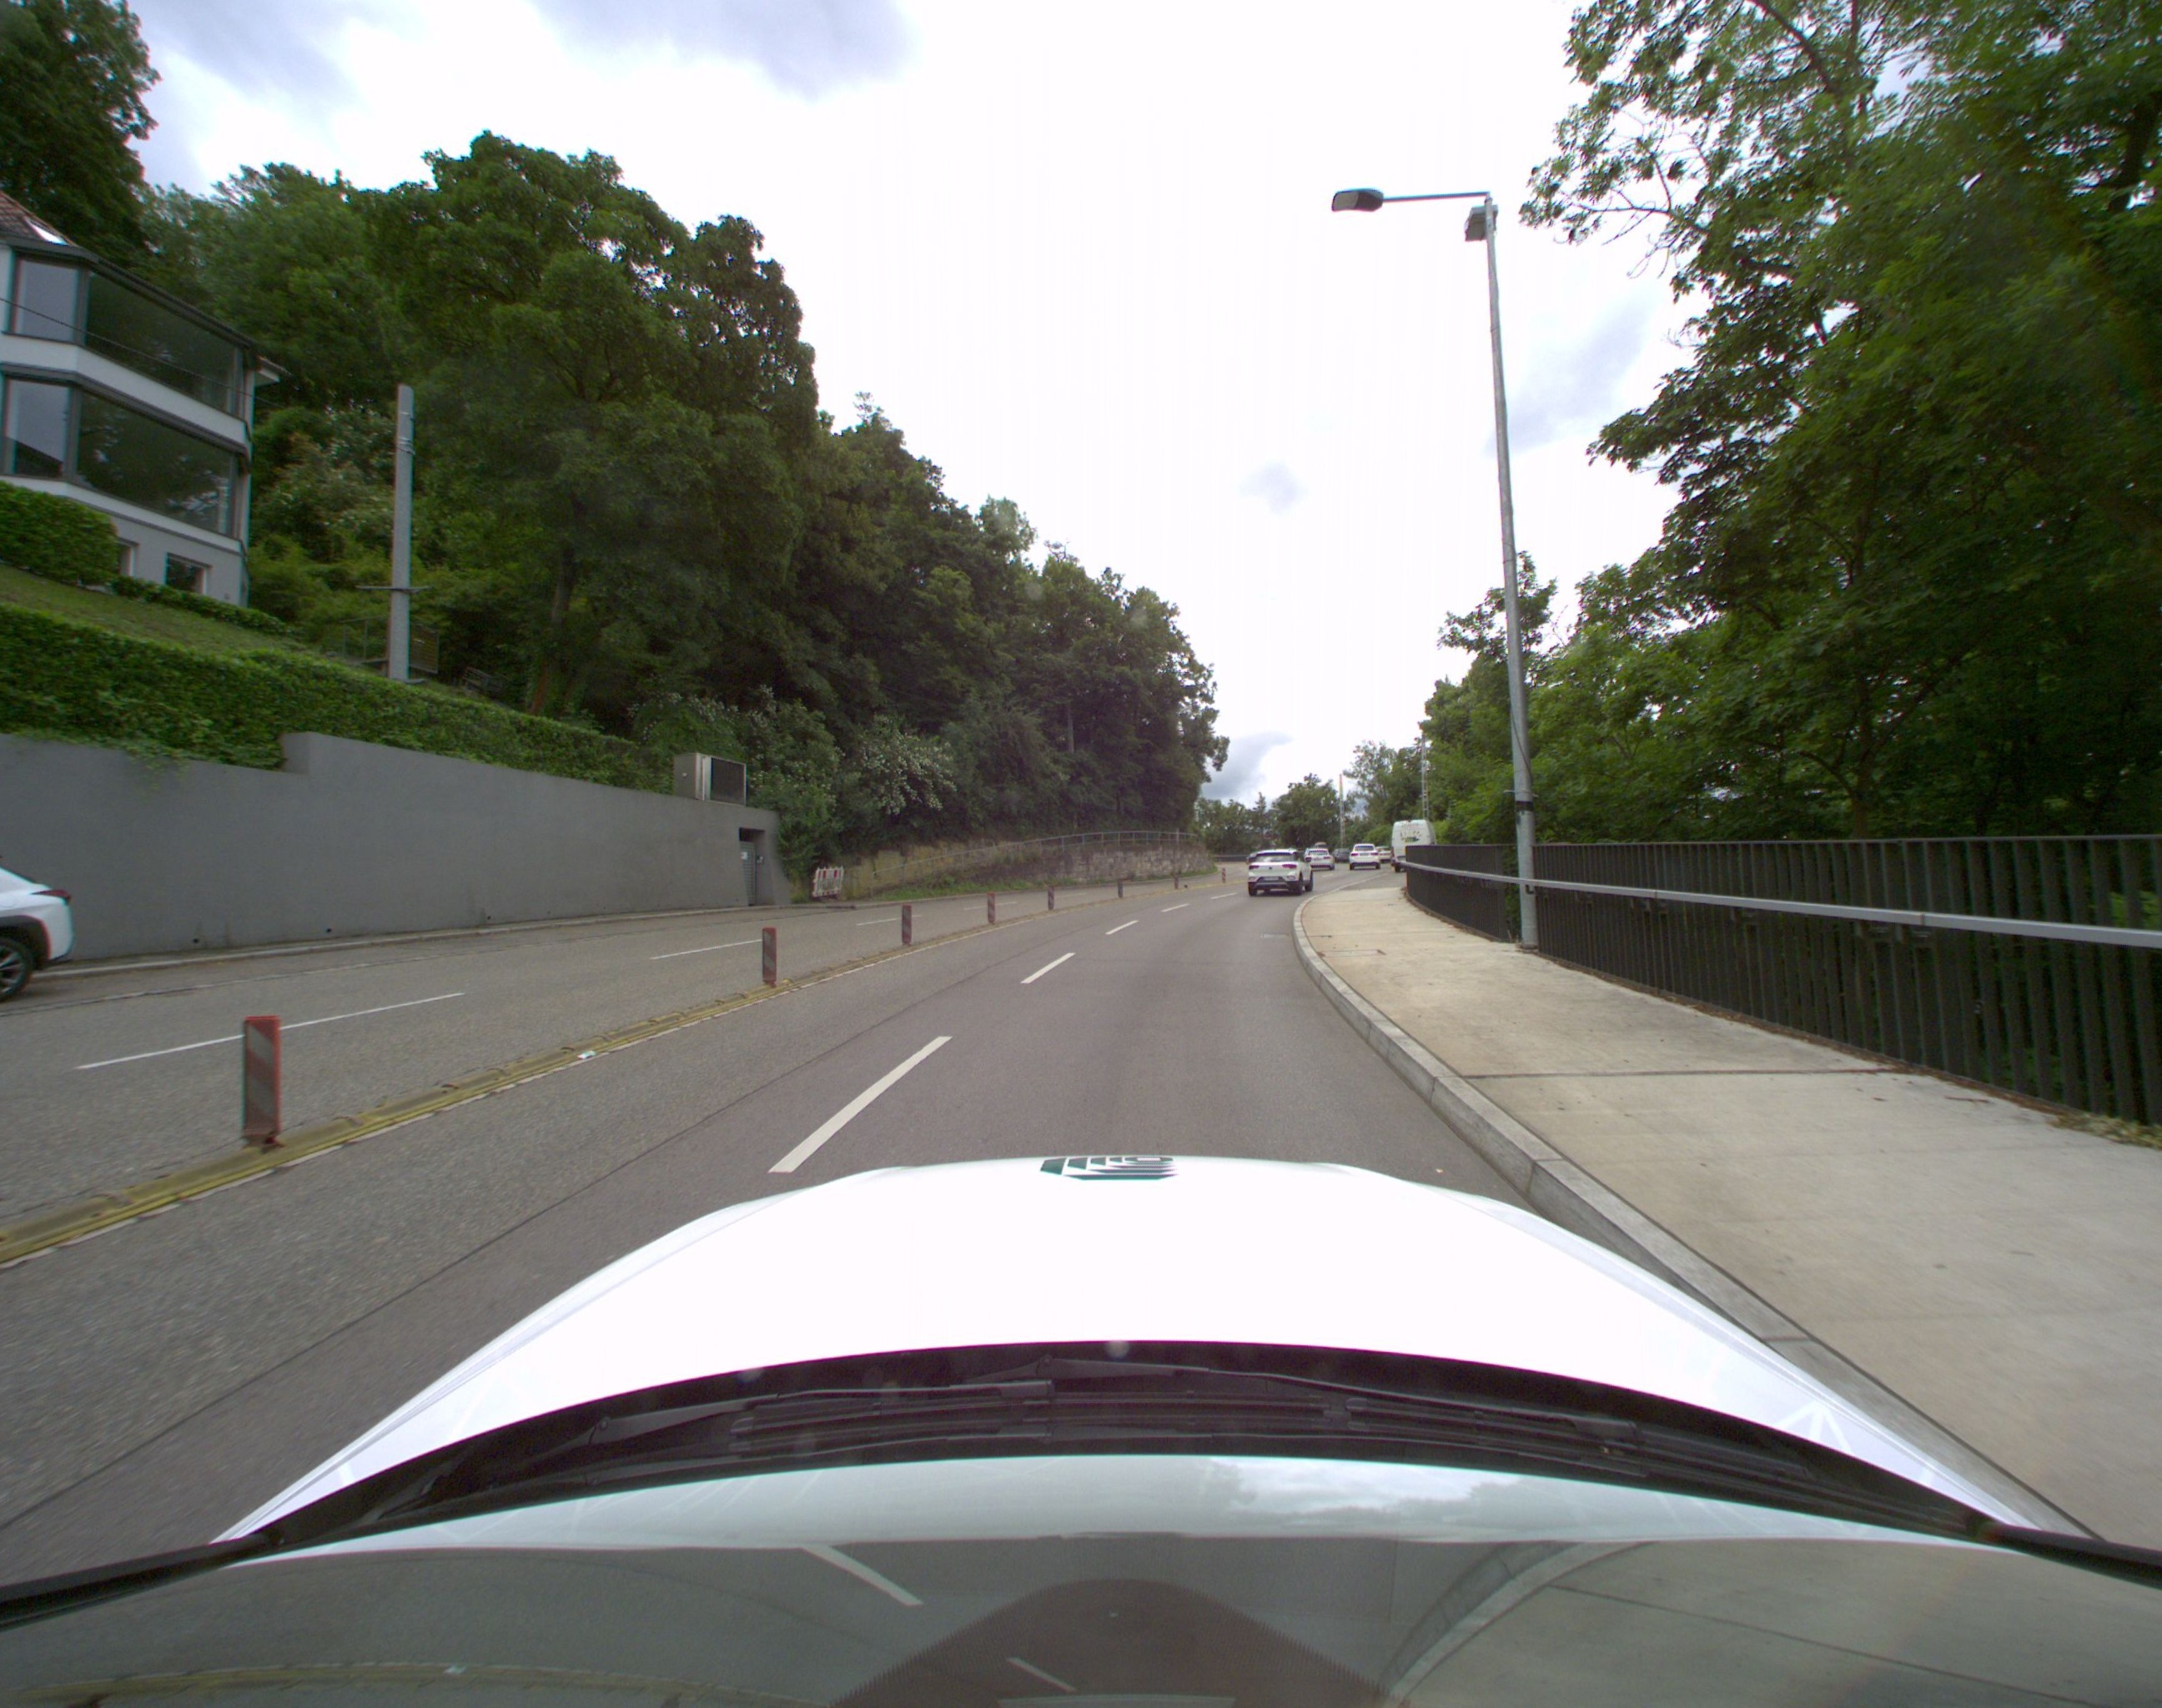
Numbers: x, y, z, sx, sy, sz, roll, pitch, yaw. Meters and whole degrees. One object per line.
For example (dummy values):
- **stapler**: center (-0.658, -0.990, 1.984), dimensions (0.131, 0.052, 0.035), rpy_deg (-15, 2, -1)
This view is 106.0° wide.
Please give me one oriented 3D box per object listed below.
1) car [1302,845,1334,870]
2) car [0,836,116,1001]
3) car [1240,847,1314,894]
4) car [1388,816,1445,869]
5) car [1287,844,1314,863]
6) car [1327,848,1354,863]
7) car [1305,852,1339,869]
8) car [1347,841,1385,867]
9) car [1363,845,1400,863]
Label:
- **car**: center (15.795, 0.275, 54.092), dimensions (1.891, 1.574, 4.018), rpy_deg (1, -1, 18)
- **car**: center (-11.402, 0.586, 6.487), dimensions (1.823, 1.573, 4.482), rpy_deg (1, -1, 6)
- **car**: center (6.945, 0.544, 28.577), dimensions (1.850, 1.536, 3.825), rpy_deg (-1, 0, 24)
- **car**: center (18.001, -0.601, 43.527), dimensions (2.064, 2.523, 5.880), rpy_deg (-4, -2, 28)
- **car**: center (20.601, -0.066, 76.540), dimensions (1.807, 1.690, 4.005), rpy_deg (1, -1, 4)
- **car**: center (25.889, 0.137, 81.246), dimensions (1.634, 1.464, 4.004), rpy_deg (-1, -1, 4)
- **car**: center (25.681, 0.700, 87.036), dimensions (1.797, 1.772, 4.595), rpy_deg (0, -1, -7)
- **car**: center (18.164, 0.019, 52.104), dimensions (1.979, 1.586, 4.016), rpy_deg (1, -1, 15)
- **car**: center (25.890, -0.017, 70.316), dimensions (1.771, 1.418, 4.000), rpy_deg (-3, -1, 1)
